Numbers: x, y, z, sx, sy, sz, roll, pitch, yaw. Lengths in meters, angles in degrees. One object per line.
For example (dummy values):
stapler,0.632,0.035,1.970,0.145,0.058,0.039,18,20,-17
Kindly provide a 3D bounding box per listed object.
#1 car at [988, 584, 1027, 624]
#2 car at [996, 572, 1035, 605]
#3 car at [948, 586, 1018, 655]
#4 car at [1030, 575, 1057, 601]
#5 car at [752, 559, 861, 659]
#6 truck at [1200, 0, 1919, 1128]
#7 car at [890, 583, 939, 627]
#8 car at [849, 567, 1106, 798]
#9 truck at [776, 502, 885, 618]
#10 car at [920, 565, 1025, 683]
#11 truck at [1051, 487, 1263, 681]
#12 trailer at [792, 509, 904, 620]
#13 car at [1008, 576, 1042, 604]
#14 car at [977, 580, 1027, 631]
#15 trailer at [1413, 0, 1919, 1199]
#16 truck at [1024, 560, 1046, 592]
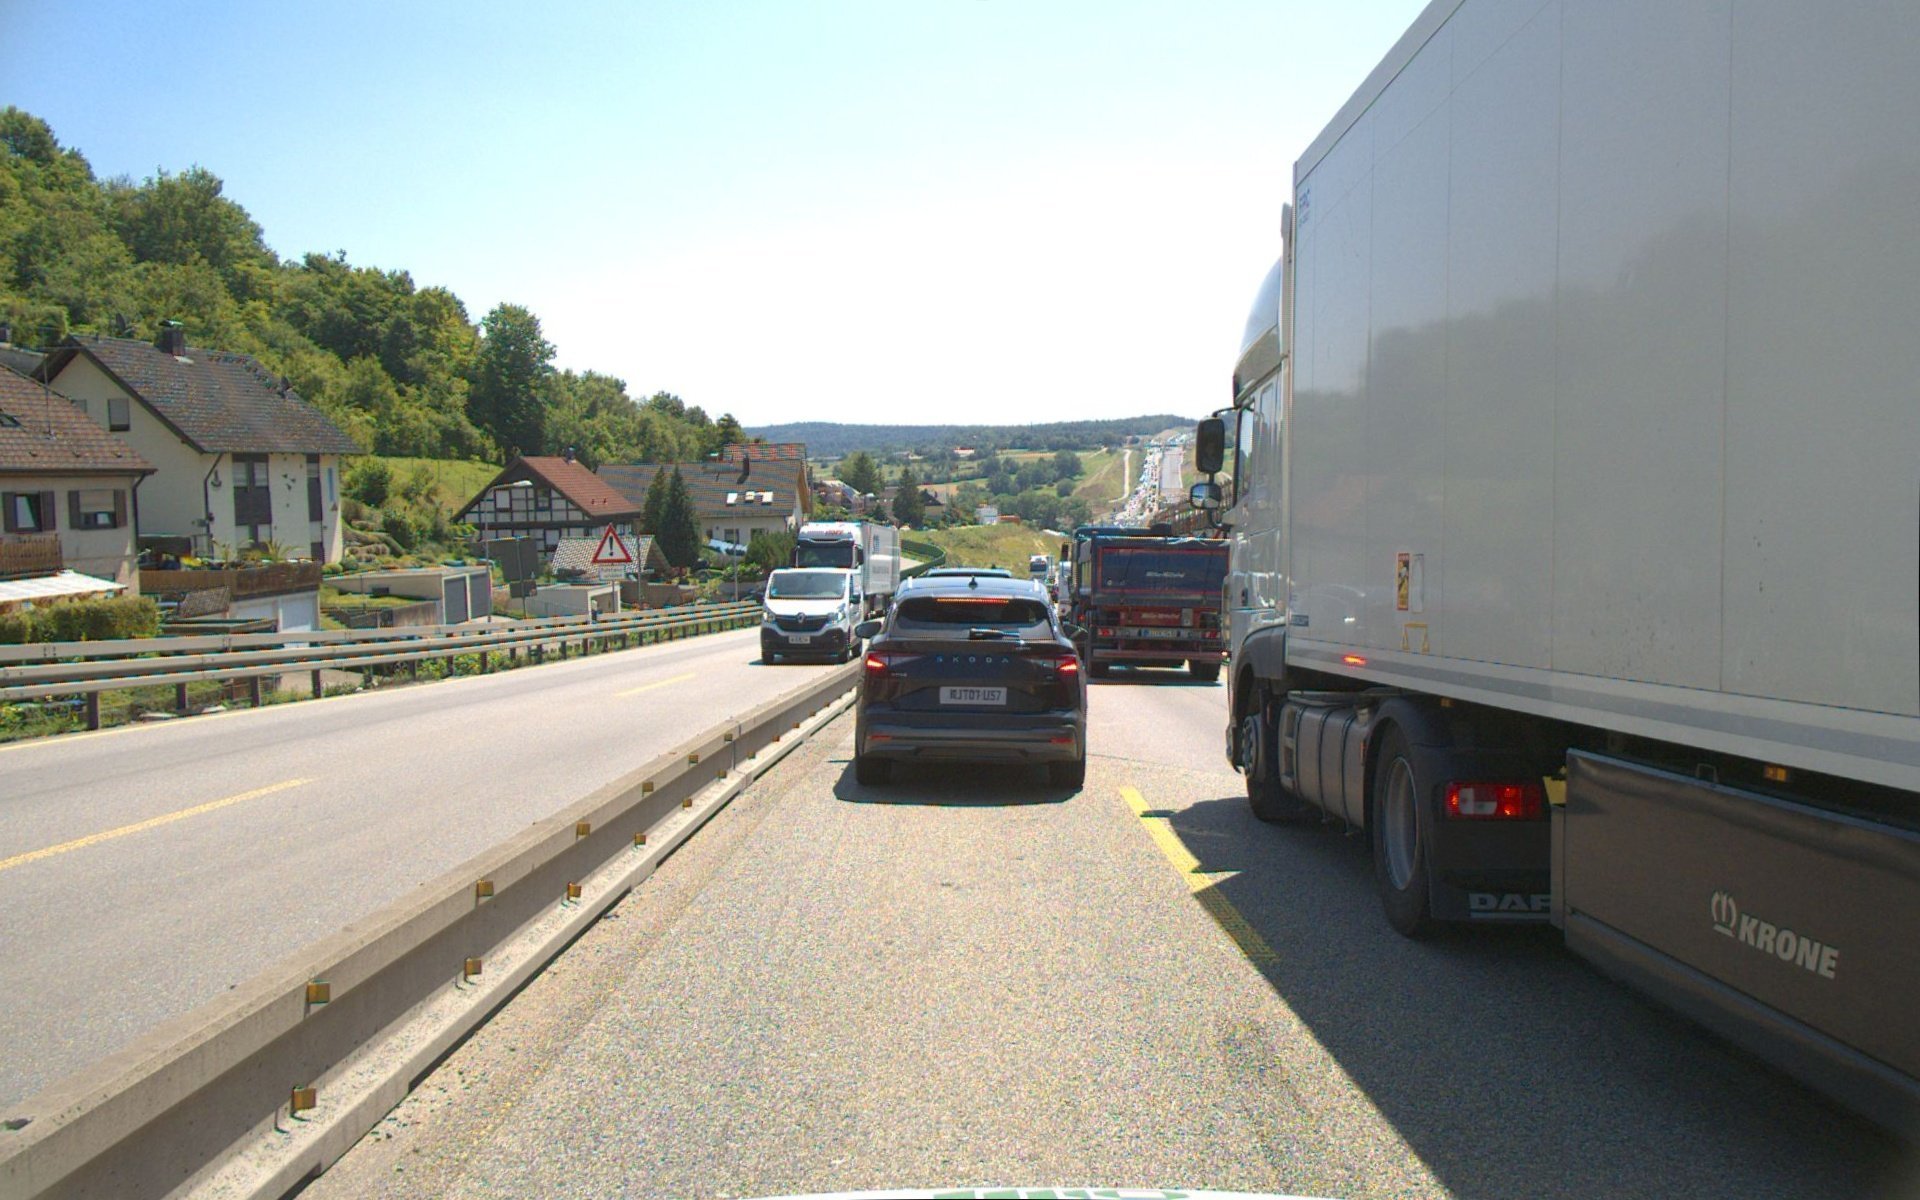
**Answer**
car,2.145,0.161,74.357,1.671,1.650,4.001,1,1,2
car,2.886,-0.600,85.499,1.952,1.613,3.837,1,0,3
car,0.575,0.515,44.158,1.672,1.650,3.999,1,1,-2
car,6.028,-0.854,118.870,1.665,1.758,3.839,1,0,6
car,-3.267,0.190,36.111,1.953,2.046,4.857,0,0,-1
truck,3.180,-0.598,8.606,2.462,4.095,8.236,1,0,-1
car,-1.731,0.192,63.994,1.808,1.601,3.999,1,0,-1
car,0.069,0.597,13.804,1.805,1.614,3.906,1,0,-2
truck,-5.223,-1.531,68.206,3.234,4.438,8.305,1,0,4
car,0.165,0.359,29.465,1.672,1.914,3.999,1,1,-2
truck,3.704,-0.252,34.534,3.129,3.247,12.810,1,0,1
trailer,-4.803,-1.424,74.382,3.184,4.455,14.064,1,0,3
car,3.900,-0.584,99.251,1.952,1.613,3.837,1,0,3
car,1.479,0.157,58.559,1.671,1.650,4.001,1,1,2
trailer,3.282,-0.740,1.247,2.480,4.199,11.545,1,0,-1
truck,10.325,-3.296,226.611,2.694,4.358,4.960,1,1,5
